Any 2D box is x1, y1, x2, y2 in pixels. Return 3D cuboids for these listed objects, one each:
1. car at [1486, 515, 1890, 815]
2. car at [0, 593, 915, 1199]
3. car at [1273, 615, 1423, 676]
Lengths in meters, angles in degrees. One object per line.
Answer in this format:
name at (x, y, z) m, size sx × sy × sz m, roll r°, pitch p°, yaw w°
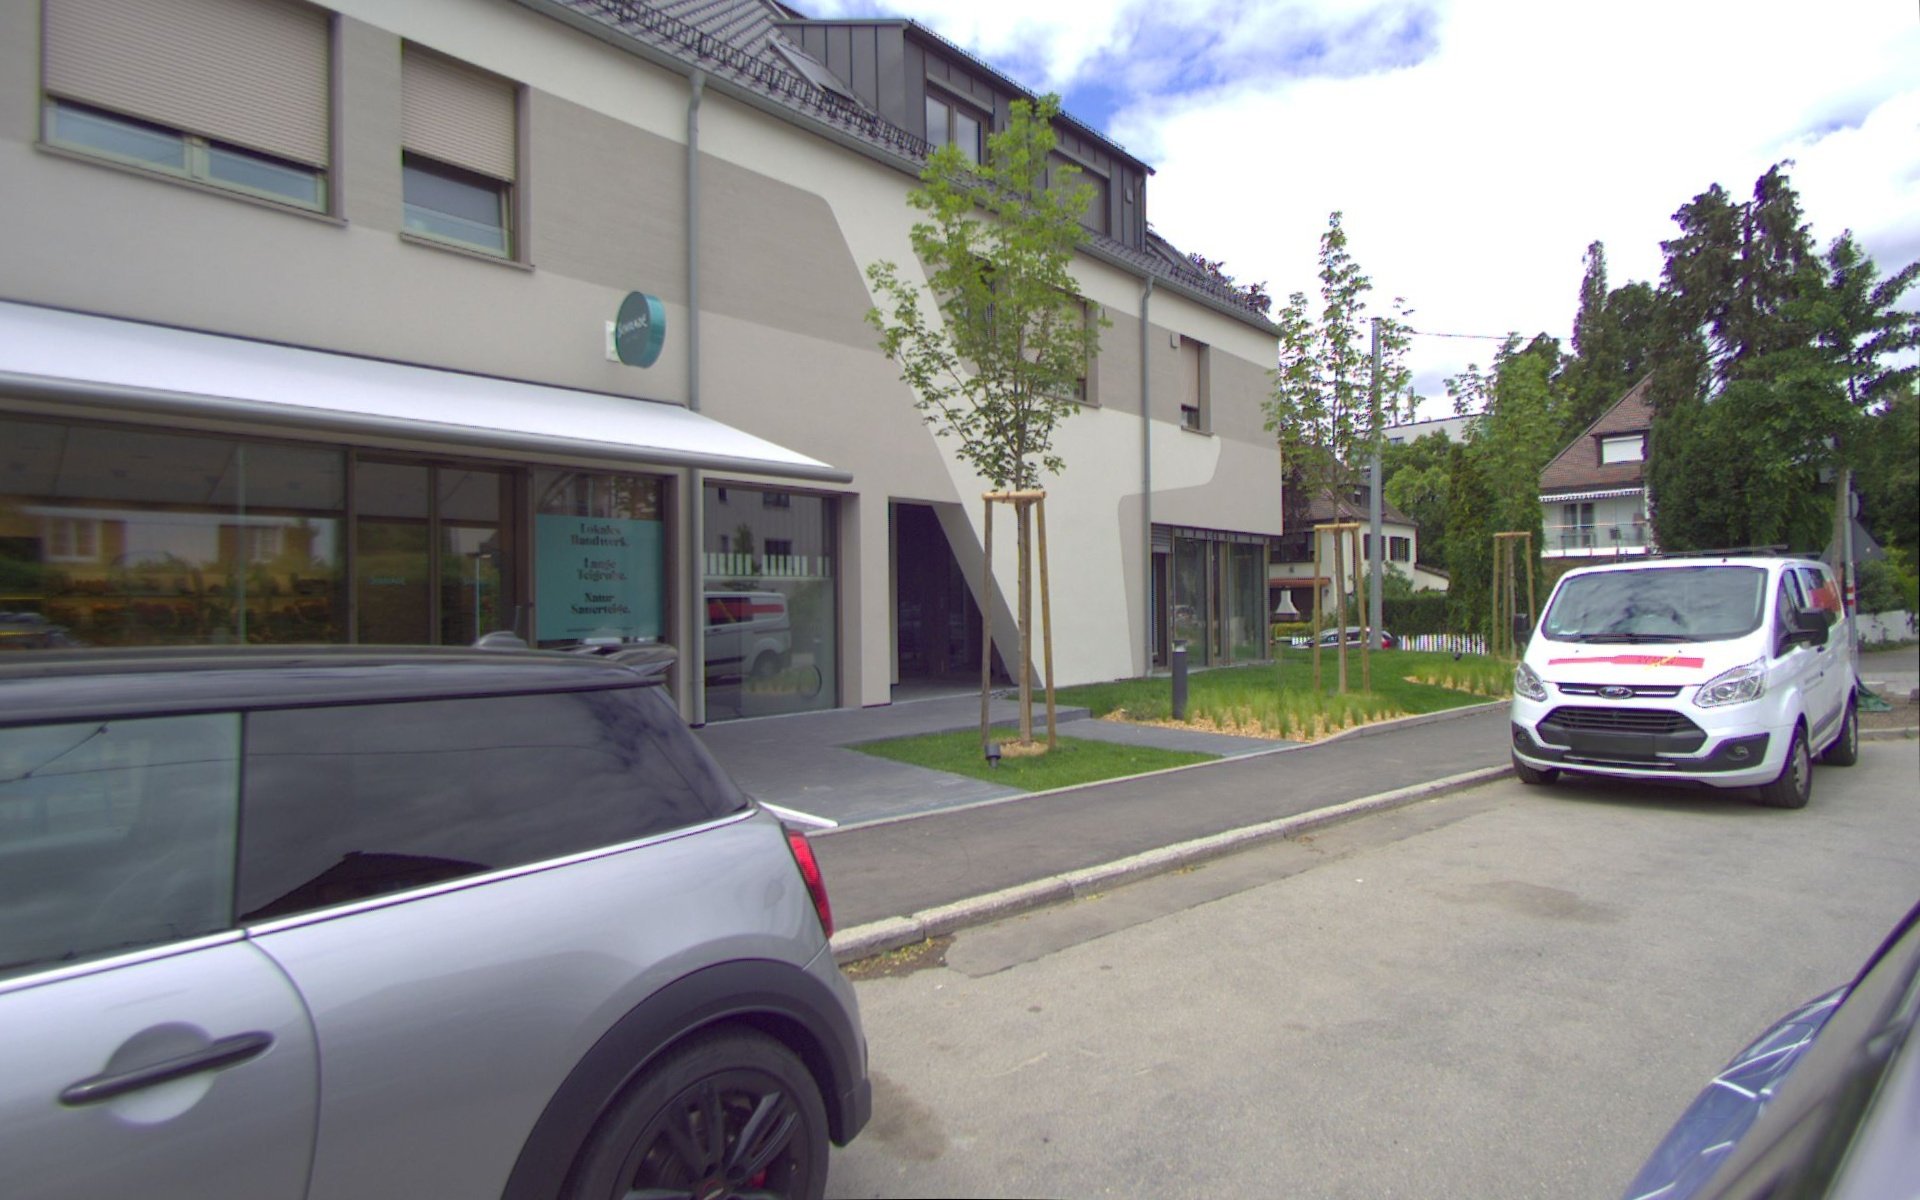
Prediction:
car at (7.051, 0.472, 9.495) m, size 5.473 × 2.040 × 1.995 m, roll 0°, pitch -2°, yaw -43°
car at (-2.053, 0.751, 1.690) m, size 3.771 × 1.471 × 1.708 m, roll 0°, pitch -2°, yaw -44°
car at (11.960, 1.417, 31.316) m, size 3.826 × 1.617 × 1.848 m, roll -6°, pitch -4°, yaw 41°
